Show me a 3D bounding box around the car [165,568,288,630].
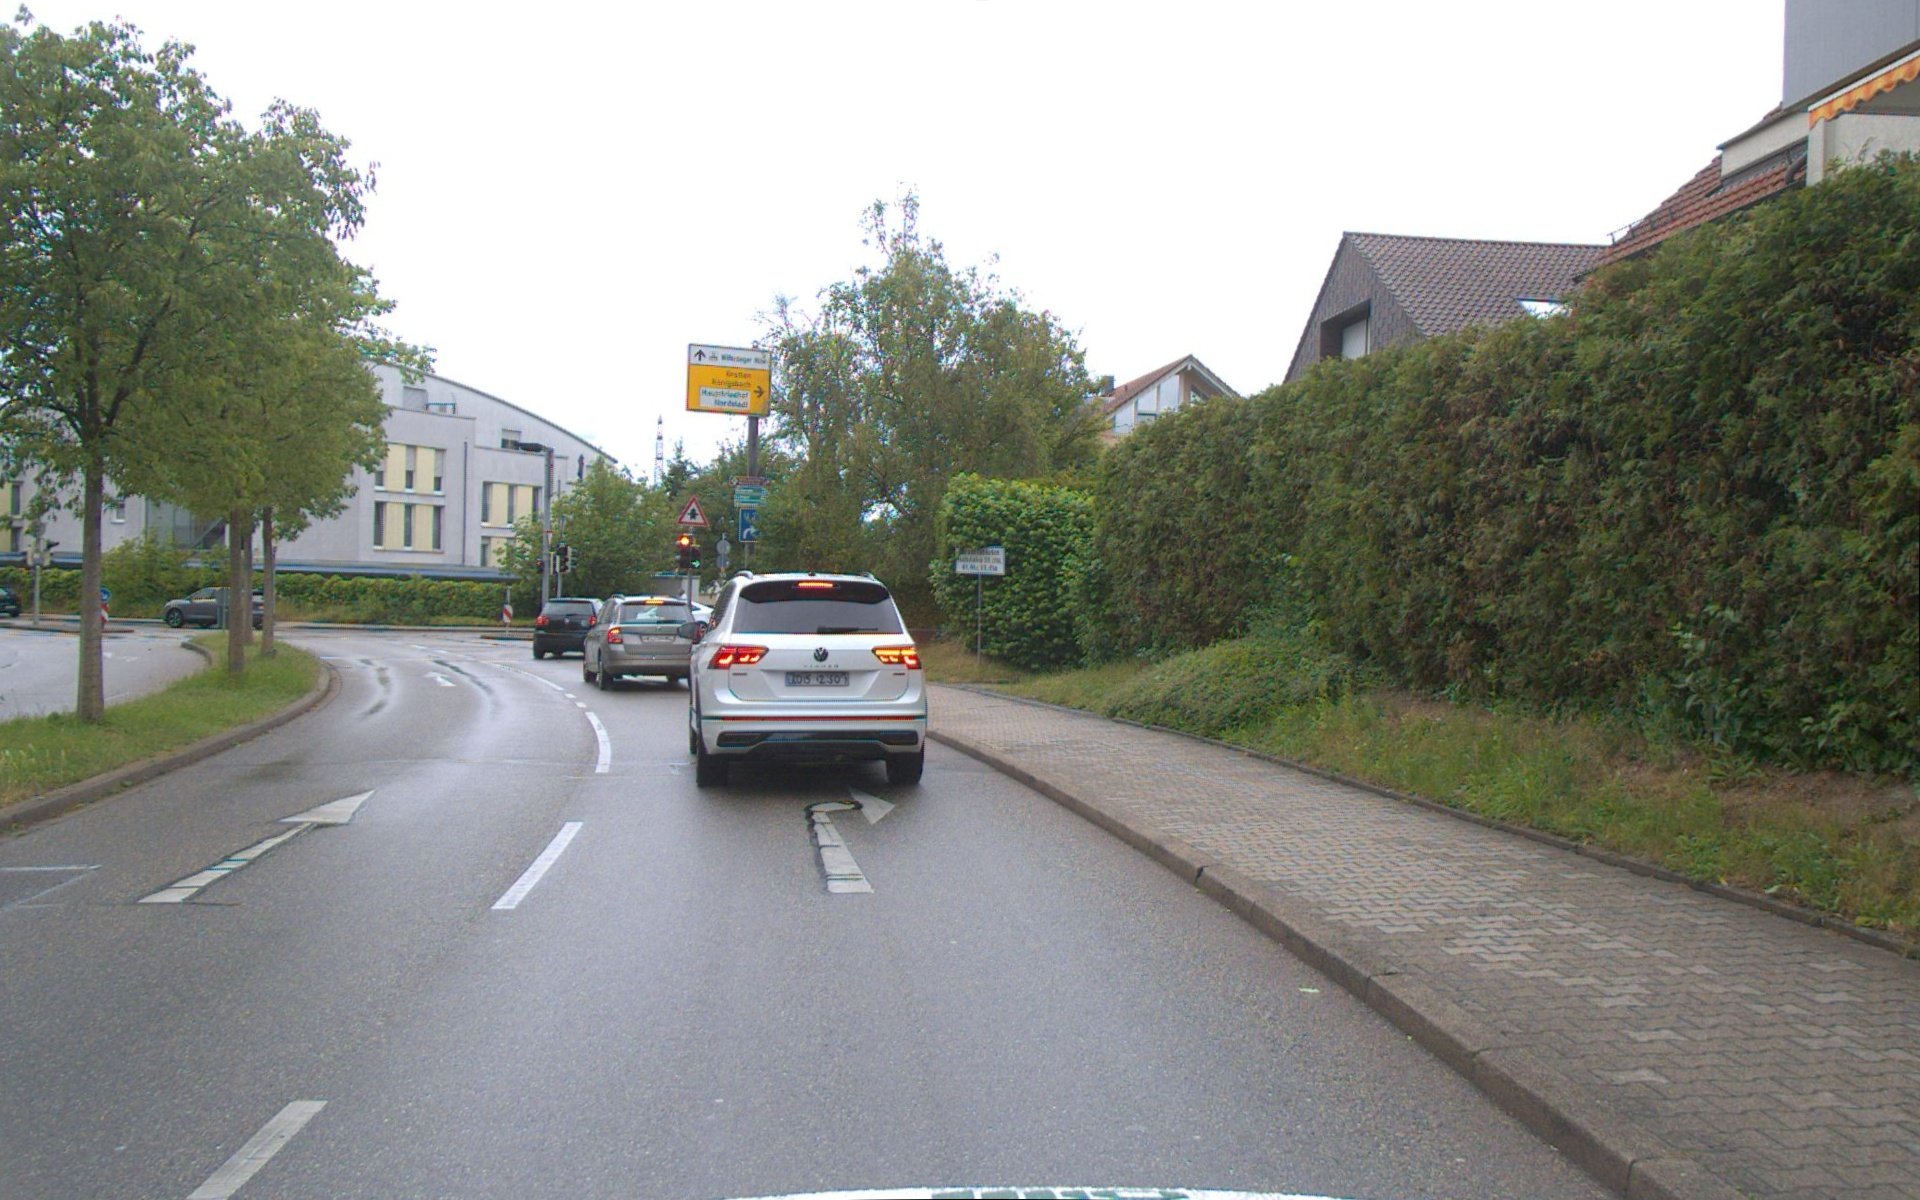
[{"bbox_3d":[-28.714,-0.060,64.786,3.903,2.048,1.982,5,2,14],"label":"car"}]

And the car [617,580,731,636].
[{"bbox_3d":[-10.885,0.284,62.872,3.928,1.788,1.990,4,2,-20],"label":"car"}]

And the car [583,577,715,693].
[{"bbox_3d":[-5.216,0.520,27.398,1.736,1.535,3.984,4,2,-16],"label":"car"}]

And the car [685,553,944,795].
[{"bbox_3d":[-1.309,0.528,14.230,1.884,1.752,4.258,0,0,-7],"label":"car"}]

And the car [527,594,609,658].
[{"bbox_3d":[-9.738,0.613,40.864,1.820,1.454,3.983,0,1,-16],"label":"car"}]

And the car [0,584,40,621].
[{"bbox_3d":[-44.107,0.088,75.273,3.908,1.582,1.999,1,1,25],"label":"car"}]

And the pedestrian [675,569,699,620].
[{"bbox_3d":[-11.173,-0.229,67.718,0.788,2.048,0.844,-1,3,-23],"label":"pedestrian"}]
